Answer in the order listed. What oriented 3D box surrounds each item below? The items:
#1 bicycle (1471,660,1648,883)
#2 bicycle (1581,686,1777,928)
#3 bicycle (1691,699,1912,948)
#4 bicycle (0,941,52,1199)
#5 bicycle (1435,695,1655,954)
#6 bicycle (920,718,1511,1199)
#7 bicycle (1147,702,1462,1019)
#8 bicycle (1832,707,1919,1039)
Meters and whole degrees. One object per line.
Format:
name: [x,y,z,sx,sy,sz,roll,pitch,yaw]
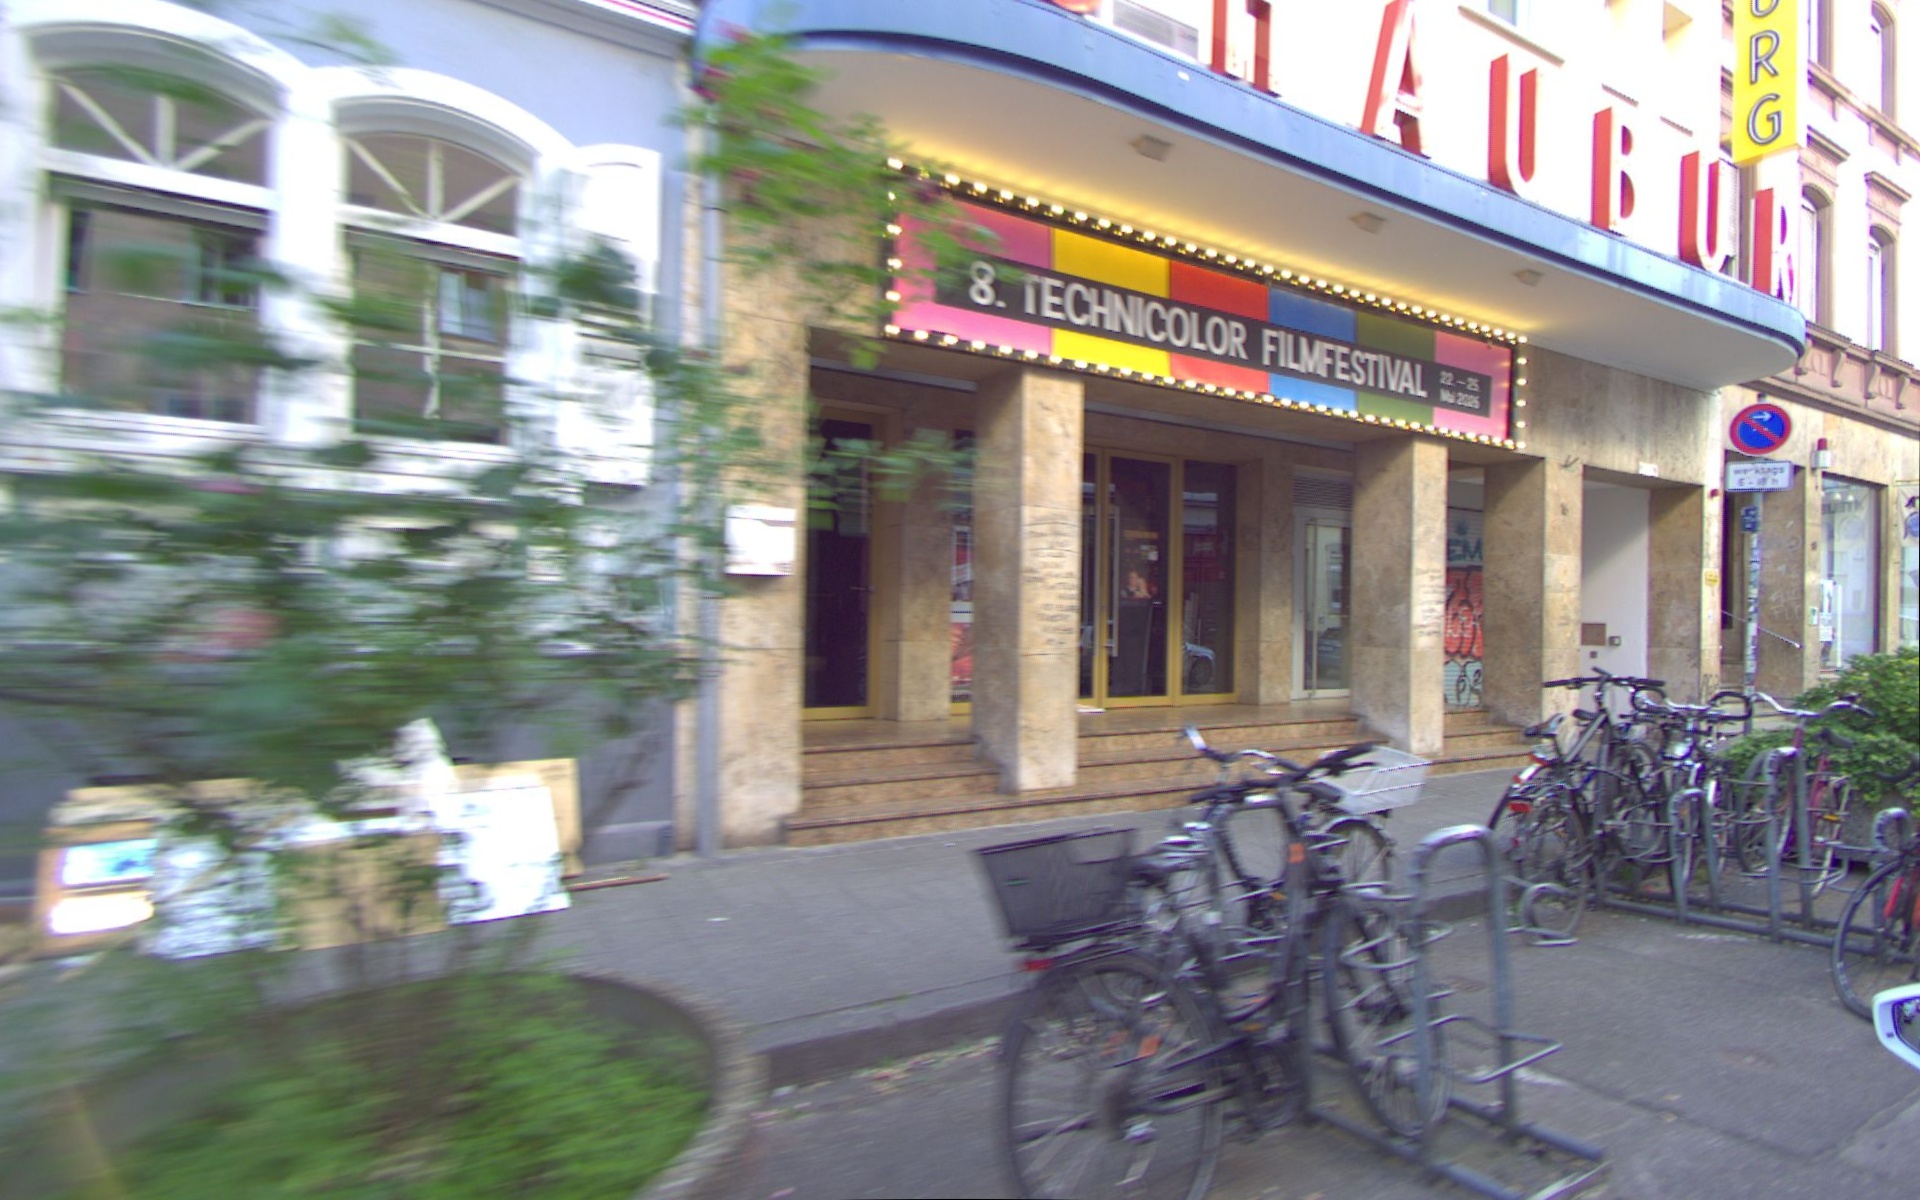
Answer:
bicycle: [3.678,0.983,6.121,1.475,1.189,0.336,1,1,-36]
bicycle: [4.270,1.144,5.922,1.653,1.189,0.396,1,1,-36]
bicycle: [4.589,1.119,5.432,1.846,1.061,0.439,1,1,-35]
bicycle: [-2.389,1.113,1.655,1.284,0.828,0.254,1,0,-31]
bicycle: [2.935,1.048,5.001,1.305,1.061,0.414,1,1,-35]
bicycle: [0.823,0.967,2.875,1.863,1.109,0.542,1,1,-35]
bicycle: [1.512,1.022,4.333,1.396,1.059,0.570,1,0,-36]
bicycle: [4.053,1.063,4.263,0.455,1.061,1.740,2,1,43]
